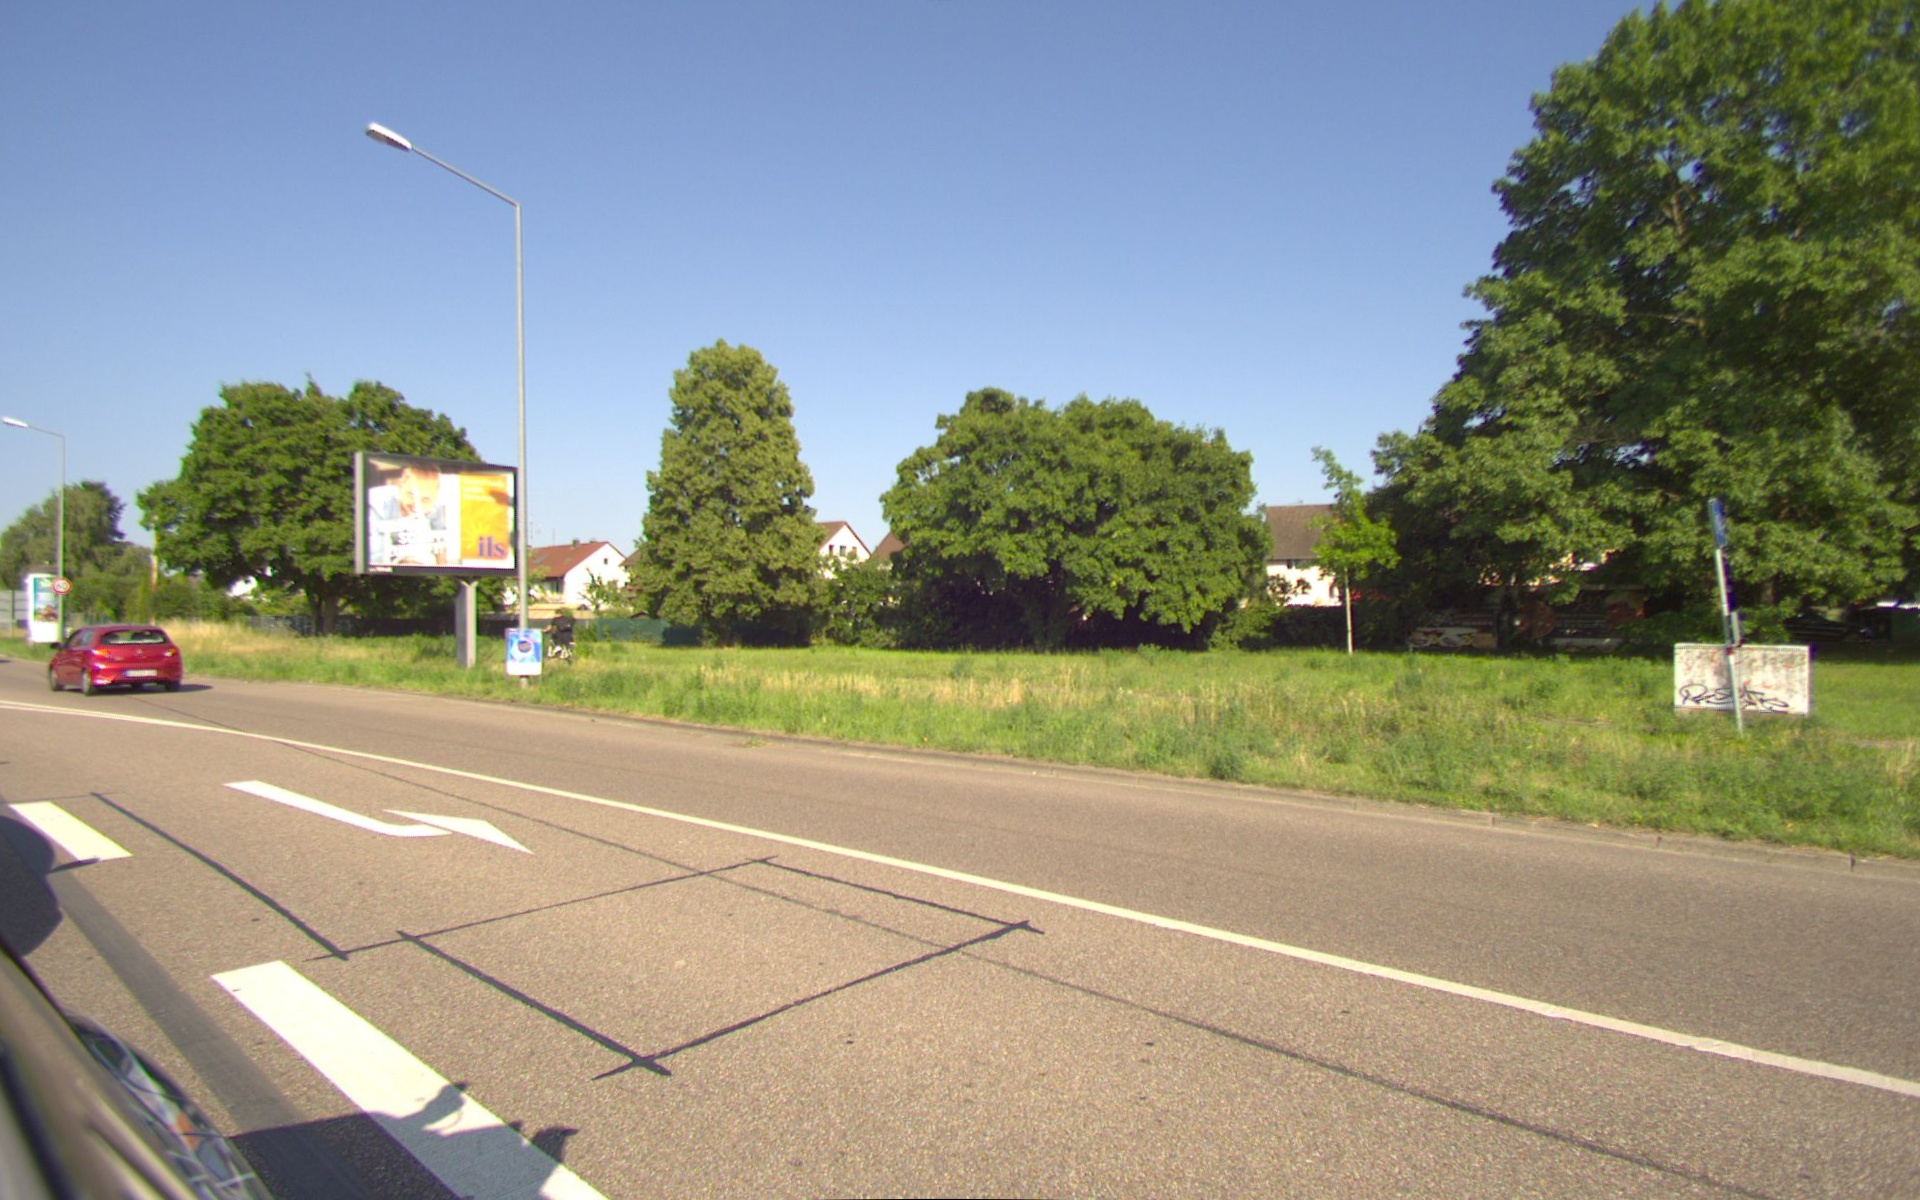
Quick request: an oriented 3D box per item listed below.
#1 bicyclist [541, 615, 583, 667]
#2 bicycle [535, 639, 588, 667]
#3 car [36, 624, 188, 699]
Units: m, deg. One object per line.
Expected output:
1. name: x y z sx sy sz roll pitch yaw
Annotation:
1. bicyclist: -11.338 1.157 28.834 1.068 1.439 0.631 -1 -1 33
2. bicycle: -11.357 1.507 28.851 1.829 0.759 0.450 -1 -1 34
3. car: -18.430 1.279 21.961 3.669 1.510 1.679 -1 -2 36
